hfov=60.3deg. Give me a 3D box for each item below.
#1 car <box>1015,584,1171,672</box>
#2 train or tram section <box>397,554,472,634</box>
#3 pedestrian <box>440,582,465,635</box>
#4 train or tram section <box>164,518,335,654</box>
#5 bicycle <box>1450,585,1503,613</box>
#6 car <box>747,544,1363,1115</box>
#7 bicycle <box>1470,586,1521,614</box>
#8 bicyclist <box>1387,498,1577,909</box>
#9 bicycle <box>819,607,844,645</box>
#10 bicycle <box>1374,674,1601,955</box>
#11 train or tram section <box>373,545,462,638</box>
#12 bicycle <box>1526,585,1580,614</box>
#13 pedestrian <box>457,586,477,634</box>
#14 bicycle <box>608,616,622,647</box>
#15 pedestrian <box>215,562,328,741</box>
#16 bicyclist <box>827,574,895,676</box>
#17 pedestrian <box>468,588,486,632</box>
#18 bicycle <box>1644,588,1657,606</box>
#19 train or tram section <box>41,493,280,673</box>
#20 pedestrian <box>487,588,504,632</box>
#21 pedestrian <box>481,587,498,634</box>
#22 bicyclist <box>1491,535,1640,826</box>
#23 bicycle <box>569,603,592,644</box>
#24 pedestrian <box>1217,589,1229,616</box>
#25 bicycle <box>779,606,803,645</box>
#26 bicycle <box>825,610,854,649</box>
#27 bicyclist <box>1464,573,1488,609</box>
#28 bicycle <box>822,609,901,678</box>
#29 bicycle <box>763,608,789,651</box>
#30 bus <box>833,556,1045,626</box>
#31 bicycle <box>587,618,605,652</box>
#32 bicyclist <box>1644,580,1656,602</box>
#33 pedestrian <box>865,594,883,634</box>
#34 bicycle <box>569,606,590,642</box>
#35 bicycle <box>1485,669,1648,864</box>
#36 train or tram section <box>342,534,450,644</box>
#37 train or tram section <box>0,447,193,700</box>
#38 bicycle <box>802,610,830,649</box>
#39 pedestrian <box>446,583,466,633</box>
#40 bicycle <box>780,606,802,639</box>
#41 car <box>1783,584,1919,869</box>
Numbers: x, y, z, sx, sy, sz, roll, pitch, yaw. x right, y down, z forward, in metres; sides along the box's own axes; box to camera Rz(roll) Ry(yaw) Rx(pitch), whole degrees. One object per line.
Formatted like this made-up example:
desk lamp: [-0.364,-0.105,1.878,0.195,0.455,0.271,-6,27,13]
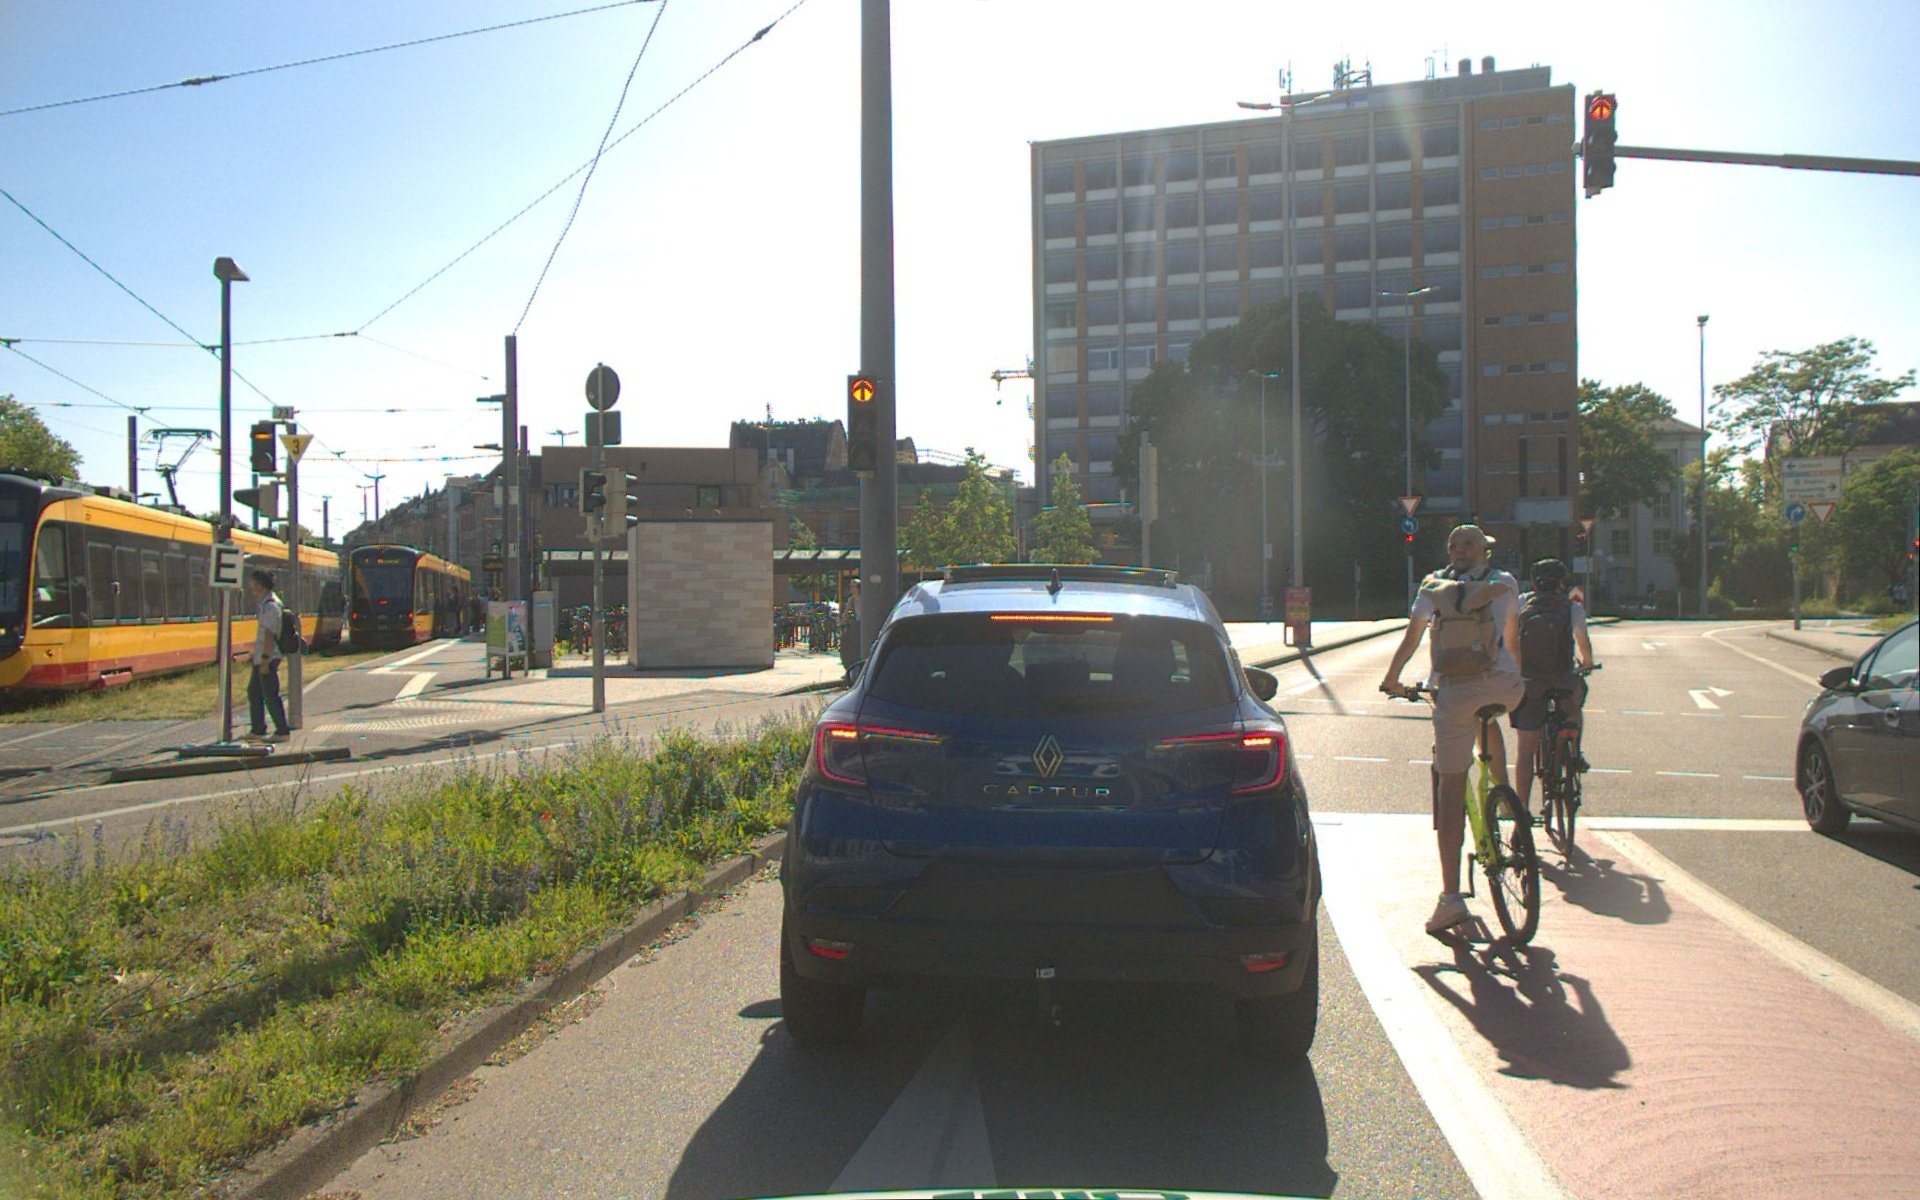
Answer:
car: [2.503,0.474,30.168,1.763,1.417,4.094,-1,1,21]
train or tram section: [-25.008,-0.283,79.102,2.823,3.569,10.502,0,0,-14]
pedestrian: [-18.371,0.318,59.877,0.833,1.916,0.757,1,-1,-16]
train or tram section: [-20.712,-0.356,48.910,2.768,3.569,11.170,0,0,-14]
bicycle: [28.620,-0.046,91.702,2.746,1.568,0.883,0,-1,25]
car: [0.422,0.653,6.668,1.785,1.628,3.661,1,0,5]
bicycle: [30.535,0.016,94.337,2.742,1.568,0.884,0,-1,17]
bicyclist: [2.396,0.446,7.684,0.649,1.778,1.006,0,0,6]
bicycle: [-3.786,0.764,48.683,0.570,1.107,2.054,1,-1,-9]
bicycle: [2.417,0.929,7.791,0.648,1.065,1.891,0,0,6]
train or tram section: [-22.463,-0.302,68.957,2.823,3.569,10.502,0,0,-14]
bicycle: [32.980,-0.013,91.953,2.746,1.568,0.883,0,-1,25]
pedestrian: [-19.818,0.405,66.494,0.661,1.889,0.701,1,-1,-9]
bicycle: [-10.952,1.004,52.457,0.414,0.954,1.375,1,0,-12]
pedestrian: [-7.369,0.551,17.745,1.000,1.864,0.757,1,-1,-16]
bicyclist: [-1.669,0.421,28.011,0.861,1.673,1.061,-1,-1,13]
pedestrian: [-20.817,0.439,71.281,0.620,1.889,0.701,1,-1,-9]
bicycle: [45.159,-0.191,108.197,0.597,1.112,1.669,-1,0,29]
train or tram section: [-18.145,-0.333,38.368,2.768,3.569,10.573,0,0,-14]
pedestrian: [-19.921,0.437,70.899,0.621,1.889,0.701,1,-1,-11]
pedestrian: [-19.164,0.426,67.391,0.623,1.889,0.699,1,-1,-20]
bicyclist: [3.640,0.453,10.014,0.706,1.654,1.056,1,0,13]
bicycle: [-10.488,0.652,45.725,0.556,1.112,2.023,1,-1,-11]
pedestrian: [16.398,0.141,103.187,0.551,1.699,0.474,-1,-2,36]
bicycle: [-4.970,0.755,48.594,0.570,1.107,2.054,1,-1,-9]
bicycle: [-3.137,0.776,43.050,0.570,0.978,2.054,1,-1,-9]
bicyclist: [28.627,-0.495,91.696,1.183,1.930,0.883,0,-1,24]
bicycle: [-1.647,0.720,28.003,0.756,1.099,2.037,-1,-1,13]
bicycle: [-4.731,0.757,42.563,0.570,1.076,1.812,1,-1,-9]
bus: [-1.272,-0.393,86.805,12.212,3.455,2.868,-1,-2,40]
bicycle: [-10.447,0.988,47.443,0.415,0.954,1.300,1,0,-15]
bicyclist: [45.102,-0.581,108.130,0.606,1.469,0.818,-1,0,29]
pedestrian: [-4.112,0.659,79.041,0.710,1.889,0.703,0,-1,8]
bicycle: [-11.952,0.763,52.010,0.556,1.112,2.023,1,-1,-11]
bicycle: [3.667,0.960,10.138,0.707,0.976,1.885,1,0,13]
train or tram section: [-19.872,-0.344,58.814,2.823,3.569,10.502,0,0,-14]
train or tram section: [-15.576,-0.354,28.121,2.771,3.569,10.437,-1,0,-15]
bicycle: [-3.737,0.770,42.953,0.570,0.978,2.054,1,-1,-9]
pedestrian: [-19.784,0.325,64.939,0.727,1.951,0.739,1,-1,-16]
bicycle: [-5.743,0.770,56.056,0.570,1.107,1.866,1,-1,-11]
car: [6.202,0.696,9.391,1.718,1.568,3.662,0,0,9]
